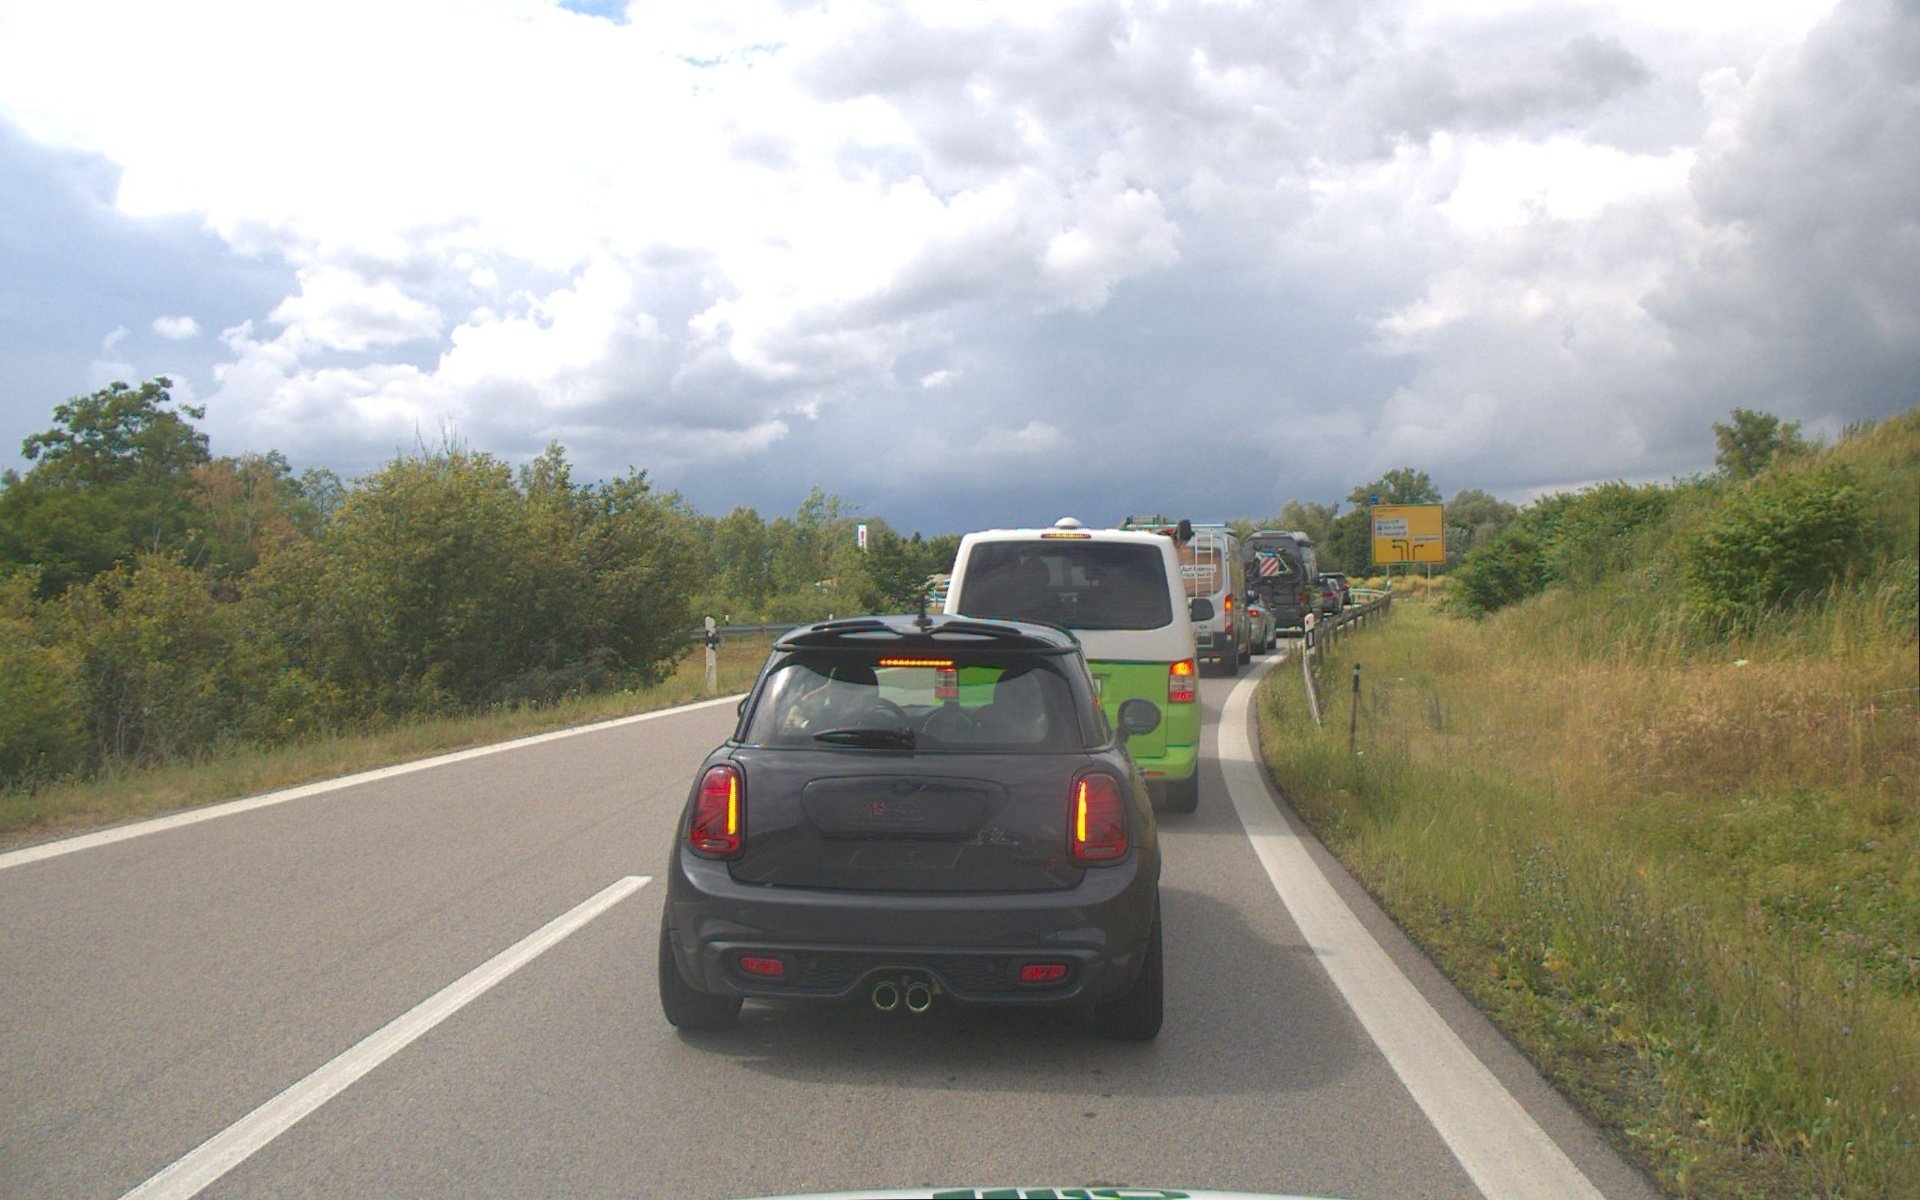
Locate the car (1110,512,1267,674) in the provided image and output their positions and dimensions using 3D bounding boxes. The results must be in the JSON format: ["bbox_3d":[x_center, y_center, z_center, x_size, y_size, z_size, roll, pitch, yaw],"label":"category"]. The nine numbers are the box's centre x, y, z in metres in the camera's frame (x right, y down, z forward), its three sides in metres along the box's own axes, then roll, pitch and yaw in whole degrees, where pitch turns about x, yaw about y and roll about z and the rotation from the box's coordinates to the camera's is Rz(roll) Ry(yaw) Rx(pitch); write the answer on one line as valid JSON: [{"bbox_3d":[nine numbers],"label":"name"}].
[{"bbox_3d":[4.282,-0.108,30.184,2.165,2.668,5.538,1,0,15],"label":"car"}]

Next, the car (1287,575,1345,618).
[{"bbox_3d":[14.199,-0.125,65.818,1.853,1.616,4.497,1,0,18],"label":"car"}]

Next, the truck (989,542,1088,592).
[{"bbox_3d":[6.611,-2.781,140.987,2.814,4.045,9.902,1,0,-36],"label":"truck"}]

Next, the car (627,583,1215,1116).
[{"bbox_3d":[-0.018,0.729,6.836,1.762,1.573,3.740,0,0,3],"label":"car"}]

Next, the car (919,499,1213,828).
[{"bbox_3d":[0.950,0.394,12.672,1.870,2.081,4.184,0,0,8],"label":"car"}]

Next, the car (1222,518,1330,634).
[{"bbox_3d":[9.230,-0.626,47.858,2.262,3.122,6.665,1,0,18],"label":"car"}]

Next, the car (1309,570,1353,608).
[{"bbox_3d":[19.573,-0.542,87.452,2.050,1.916,4.499,1,0,10],"label":"car"}]

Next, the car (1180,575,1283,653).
[{"bbox_3d":[6.274,0.320,37.878,1.951,1.671,3.931,1,0,15],"label":"car"}]

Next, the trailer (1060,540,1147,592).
[{"bbox_3d":[11.466,-2.663,133.201,2.999,3.966,8.700,1,0,-26],"label":"trailer"}]
